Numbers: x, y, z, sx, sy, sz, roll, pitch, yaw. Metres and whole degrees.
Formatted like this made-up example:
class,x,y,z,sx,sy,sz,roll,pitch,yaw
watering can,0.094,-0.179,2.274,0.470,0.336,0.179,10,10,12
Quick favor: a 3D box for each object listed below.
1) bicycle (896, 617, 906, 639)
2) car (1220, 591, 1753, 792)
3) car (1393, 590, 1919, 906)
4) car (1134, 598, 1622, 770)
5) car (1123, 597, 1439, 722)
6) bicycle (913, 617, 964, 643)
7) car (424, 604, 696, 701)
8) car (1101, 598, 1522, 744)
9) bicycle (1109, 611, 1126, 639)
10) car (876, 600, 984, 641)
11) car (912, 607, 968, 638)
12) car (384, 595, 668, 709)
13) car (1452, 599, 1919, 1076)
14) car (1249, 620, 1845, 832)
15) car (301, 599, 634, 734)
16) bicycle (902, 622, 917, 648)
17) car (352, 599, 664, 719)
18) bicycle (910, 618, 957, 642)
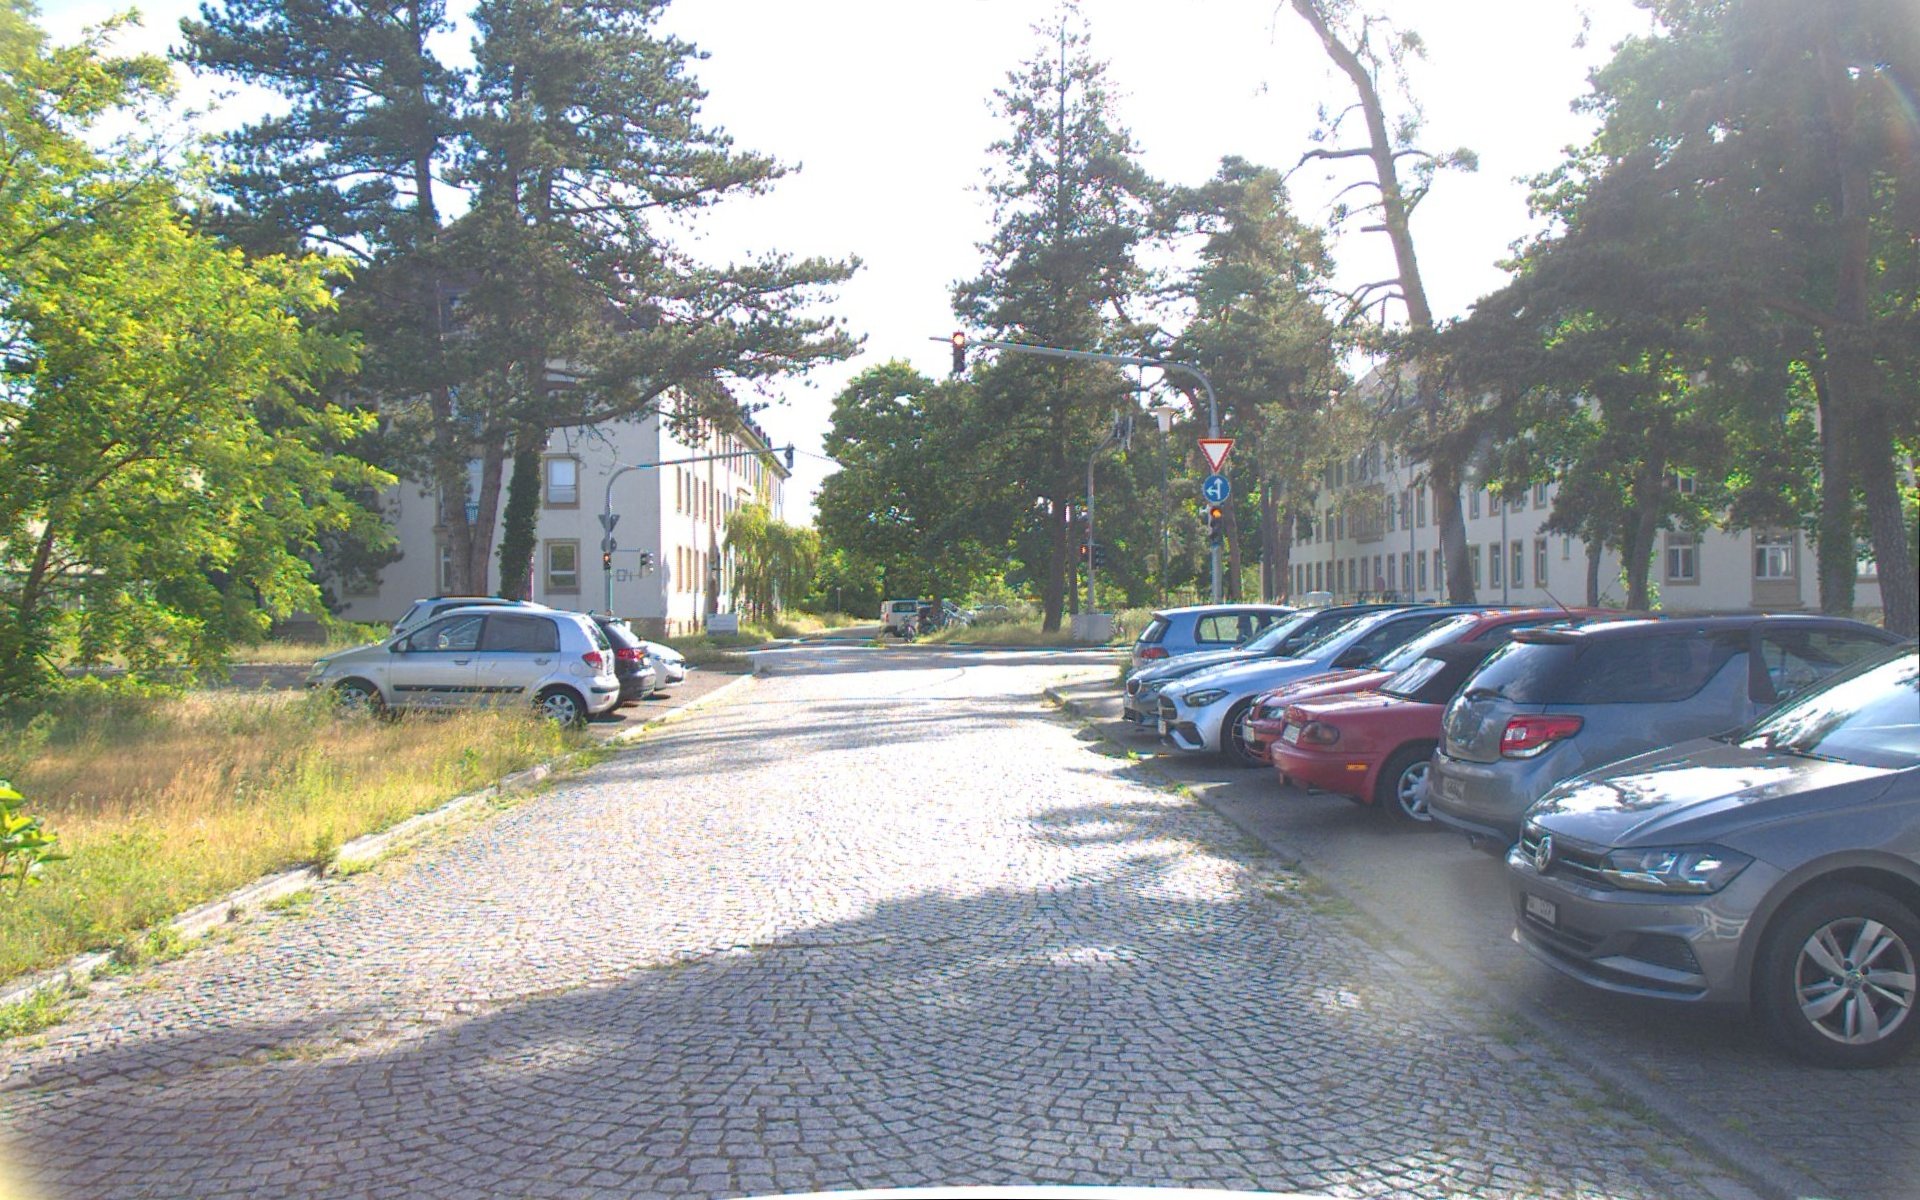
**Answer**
class,x,y,z,sx,sy,sz,roll,pitch,yaw
bicycle,-2.864,1.357,80.175,0.409,1.028,1.483,1,-1,-1
car,4.427,0.740,14.290,4.044,1.474,1.636,-2,0,-1
car,4.523,0.733,9.311,3.633,1.474,1.816,-2,0,-2
car,4.019,0.779,16.379,4.342,1.440,1.780,-2,0,-1
car,4.174,0.760,21.881,3.804,1.440,1.636,-2,0,-1
bicycle,-0.930,1.287,70.627,2.070,1.028,0.619,2,-1,-10
car,-6.777,0.872,28.412,4.249,1.494,1.829,2,0,-5
car,3.966,0.780,19.094,4.467,1.440,1.636,-2,0,-1
bicycle,5.582,0.892,58.710,0.295,0.977,1.584,2,-1,-5
car,-1.593,1.121,88.668,5.440,2.049,1.988,2,-1,-20
car,-1.049,1.172,85.061,2.728,1.492,1.669,2,-1,-6
car,-6.748,0.793,26.083,4.000,1.621,1.883,2,0,-5
car,4.017,0.746,6.383,3.632,1.474,1.856,-2,0,-1
car,4.076,0.846,11.897,3.632,1.244,1.746,-2,0,-1
car,-6.048,0.802,20.634,3.673,1.513,1.644,2,0,-5
bicycle,-2.042,1.425,66.800,0.458,1.028,1.584,2,-1,-5
car,-6.239,0.802,23.202,3.909,1.506,1.801,2,0,-5
bicycle,-1.140,1.309,72.291,1.968,1.028,0.630,2,-1,-10
